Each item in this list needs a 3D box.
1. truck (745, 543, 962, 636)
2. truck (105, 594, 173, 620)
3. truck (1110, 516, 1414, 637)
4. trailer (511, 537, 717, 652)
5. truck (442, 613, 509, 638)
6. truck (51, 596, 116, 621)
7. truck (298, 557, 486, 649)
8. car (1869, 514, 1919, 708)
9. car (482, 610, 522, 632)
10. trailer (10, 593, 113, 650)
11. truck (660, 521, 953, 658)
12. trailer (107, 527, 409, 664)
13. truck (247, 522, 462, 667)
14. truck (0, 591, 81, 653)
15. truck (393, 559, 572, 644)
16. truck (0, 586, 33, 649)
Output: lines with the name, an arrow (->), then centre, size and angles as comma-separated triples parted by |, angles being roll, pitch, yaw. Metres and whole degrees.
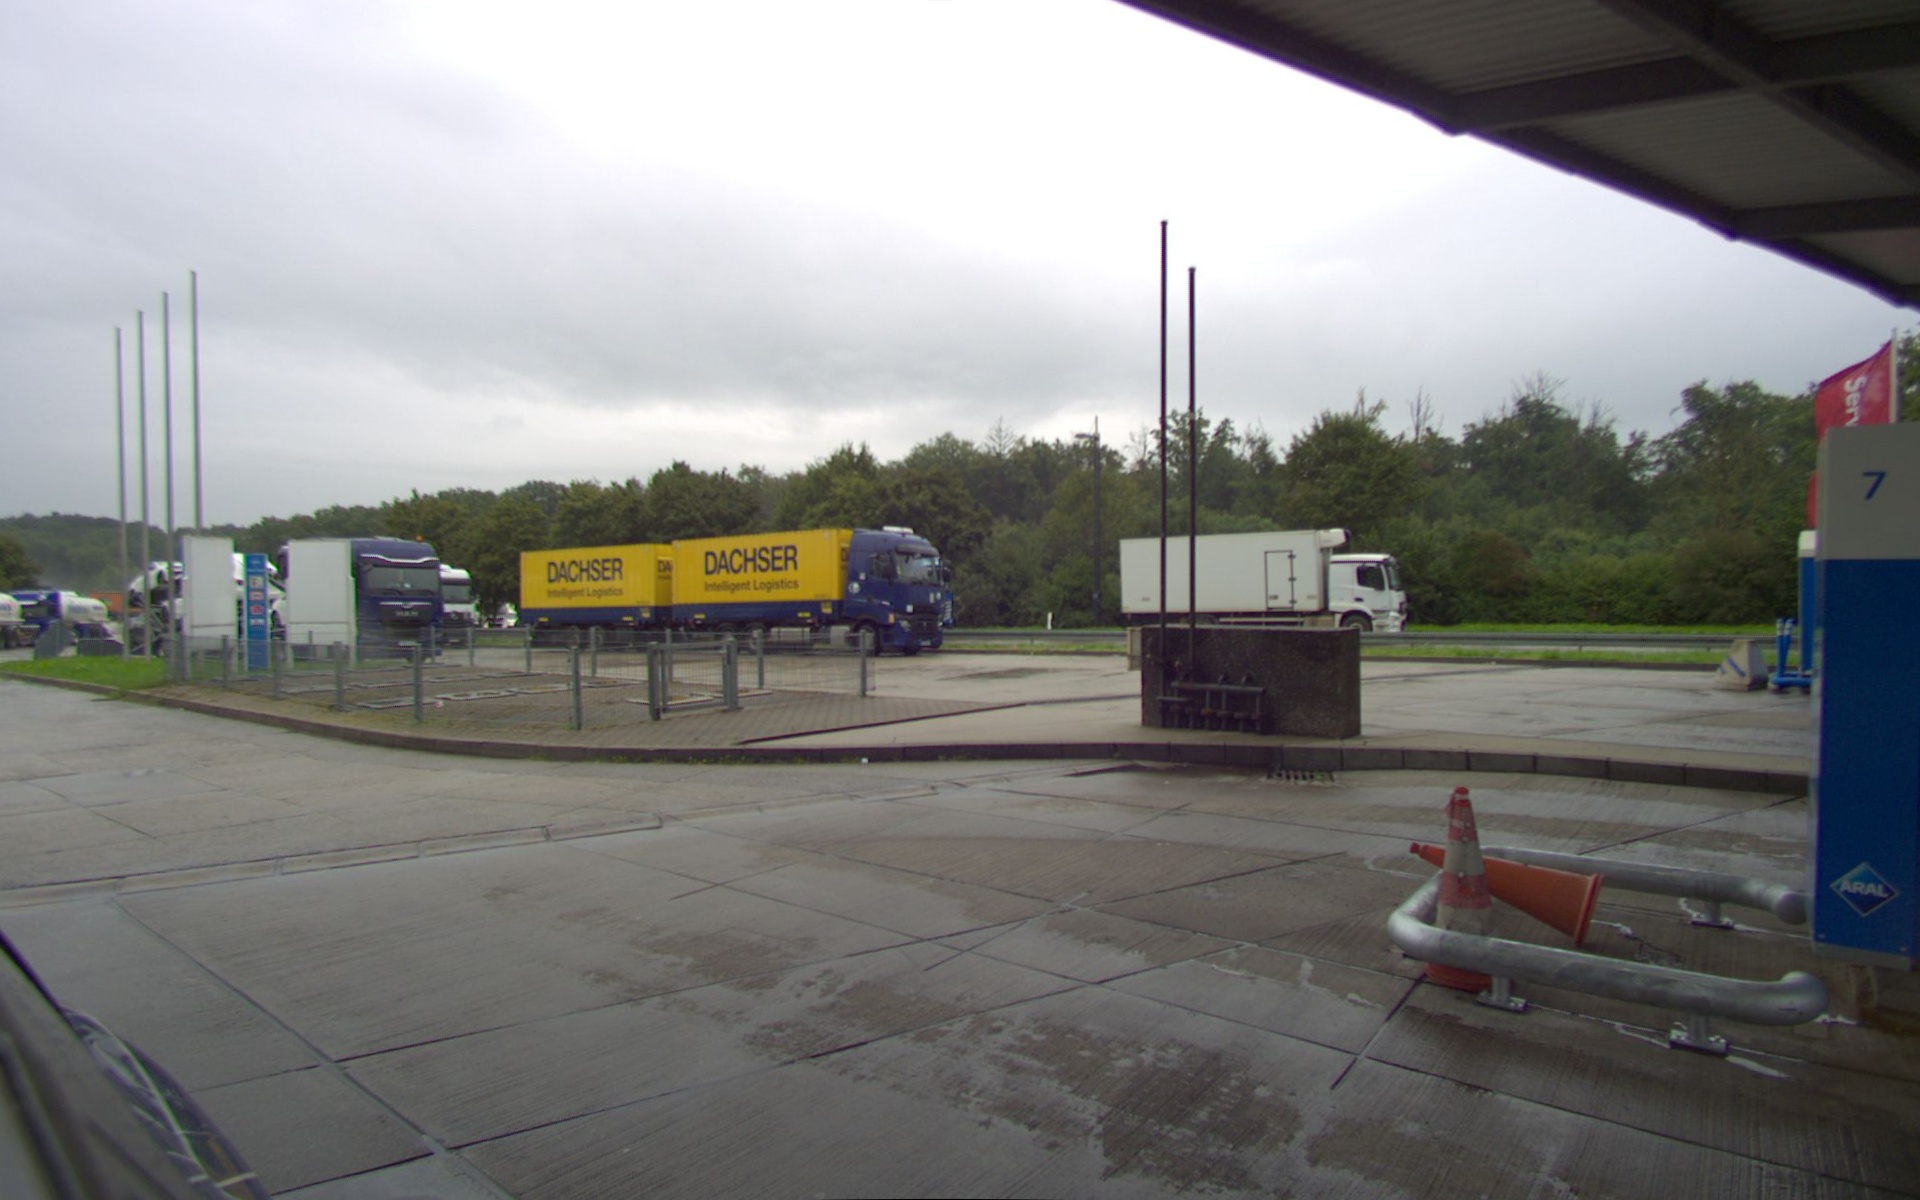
truck -> -5.161, -0.406, 47.703 | 10.433, 4.063, 2.961 | -1, 0, 30
truck -> -114.719, 0.986, 141.325 | 14.626, 3.591, 3.215 | 0, -1, 34
truck -> 11.053, -0.736, 37.714 | 10.433, 4.063, 2.961 | -1, 0, 30
trailer -> -13.566, -0.168, 39.300 | 8.833, 4.063, 2.743 | -1, 0, 33
truck -> -46.975, 2.475, 98.123 | 6.158, 2.321, 3.101 | -1, -1, 33
truck -> -133.208, 1.292, 153.717 | 16.515, 3.591, 3.215 | -1, 0, 34
truck -> -27.322, 0.172, 48.456 | 10.433, 4.063, 2.961 | -1, 0, 30
car -> 14.875, 0.115, 12.419 | 5.272, 2.482, 2.298 | -1, -2, 37
car -> -49.136, 2.233, 108.510 | 4.493, 2.309, 1.754 | -1, -1, 33
trailer -> -62.293, 1.425, 70.488 | 2.854, 3.666, 10.605 | -1, 0, -28
truck -> -5.409, -0.272, 33.968 | 10.608, 4.063, 2.743 | -1, 0, 33
trailer -> -25.436, -0.060, 35.935 | 16.563, 4.063, 2.957 | -1, 0, 34
truck -> -19.012, -0.116, 31.632 | 7.244, 4.063, 2.957 | -1, 0, 34
truck -> -59.447, 1.363, 65.002 | 3.000, 3.795, 6.486 | -1, 0, -27
truck -> -24.801, 0.137, 52.285 | 10.433, 4.063, 2.961 | -1, 0, 30
truck -> -55.579, 1.011, 55.023 | 3.196, 3.591, 12.013 | -1, 0, -19
